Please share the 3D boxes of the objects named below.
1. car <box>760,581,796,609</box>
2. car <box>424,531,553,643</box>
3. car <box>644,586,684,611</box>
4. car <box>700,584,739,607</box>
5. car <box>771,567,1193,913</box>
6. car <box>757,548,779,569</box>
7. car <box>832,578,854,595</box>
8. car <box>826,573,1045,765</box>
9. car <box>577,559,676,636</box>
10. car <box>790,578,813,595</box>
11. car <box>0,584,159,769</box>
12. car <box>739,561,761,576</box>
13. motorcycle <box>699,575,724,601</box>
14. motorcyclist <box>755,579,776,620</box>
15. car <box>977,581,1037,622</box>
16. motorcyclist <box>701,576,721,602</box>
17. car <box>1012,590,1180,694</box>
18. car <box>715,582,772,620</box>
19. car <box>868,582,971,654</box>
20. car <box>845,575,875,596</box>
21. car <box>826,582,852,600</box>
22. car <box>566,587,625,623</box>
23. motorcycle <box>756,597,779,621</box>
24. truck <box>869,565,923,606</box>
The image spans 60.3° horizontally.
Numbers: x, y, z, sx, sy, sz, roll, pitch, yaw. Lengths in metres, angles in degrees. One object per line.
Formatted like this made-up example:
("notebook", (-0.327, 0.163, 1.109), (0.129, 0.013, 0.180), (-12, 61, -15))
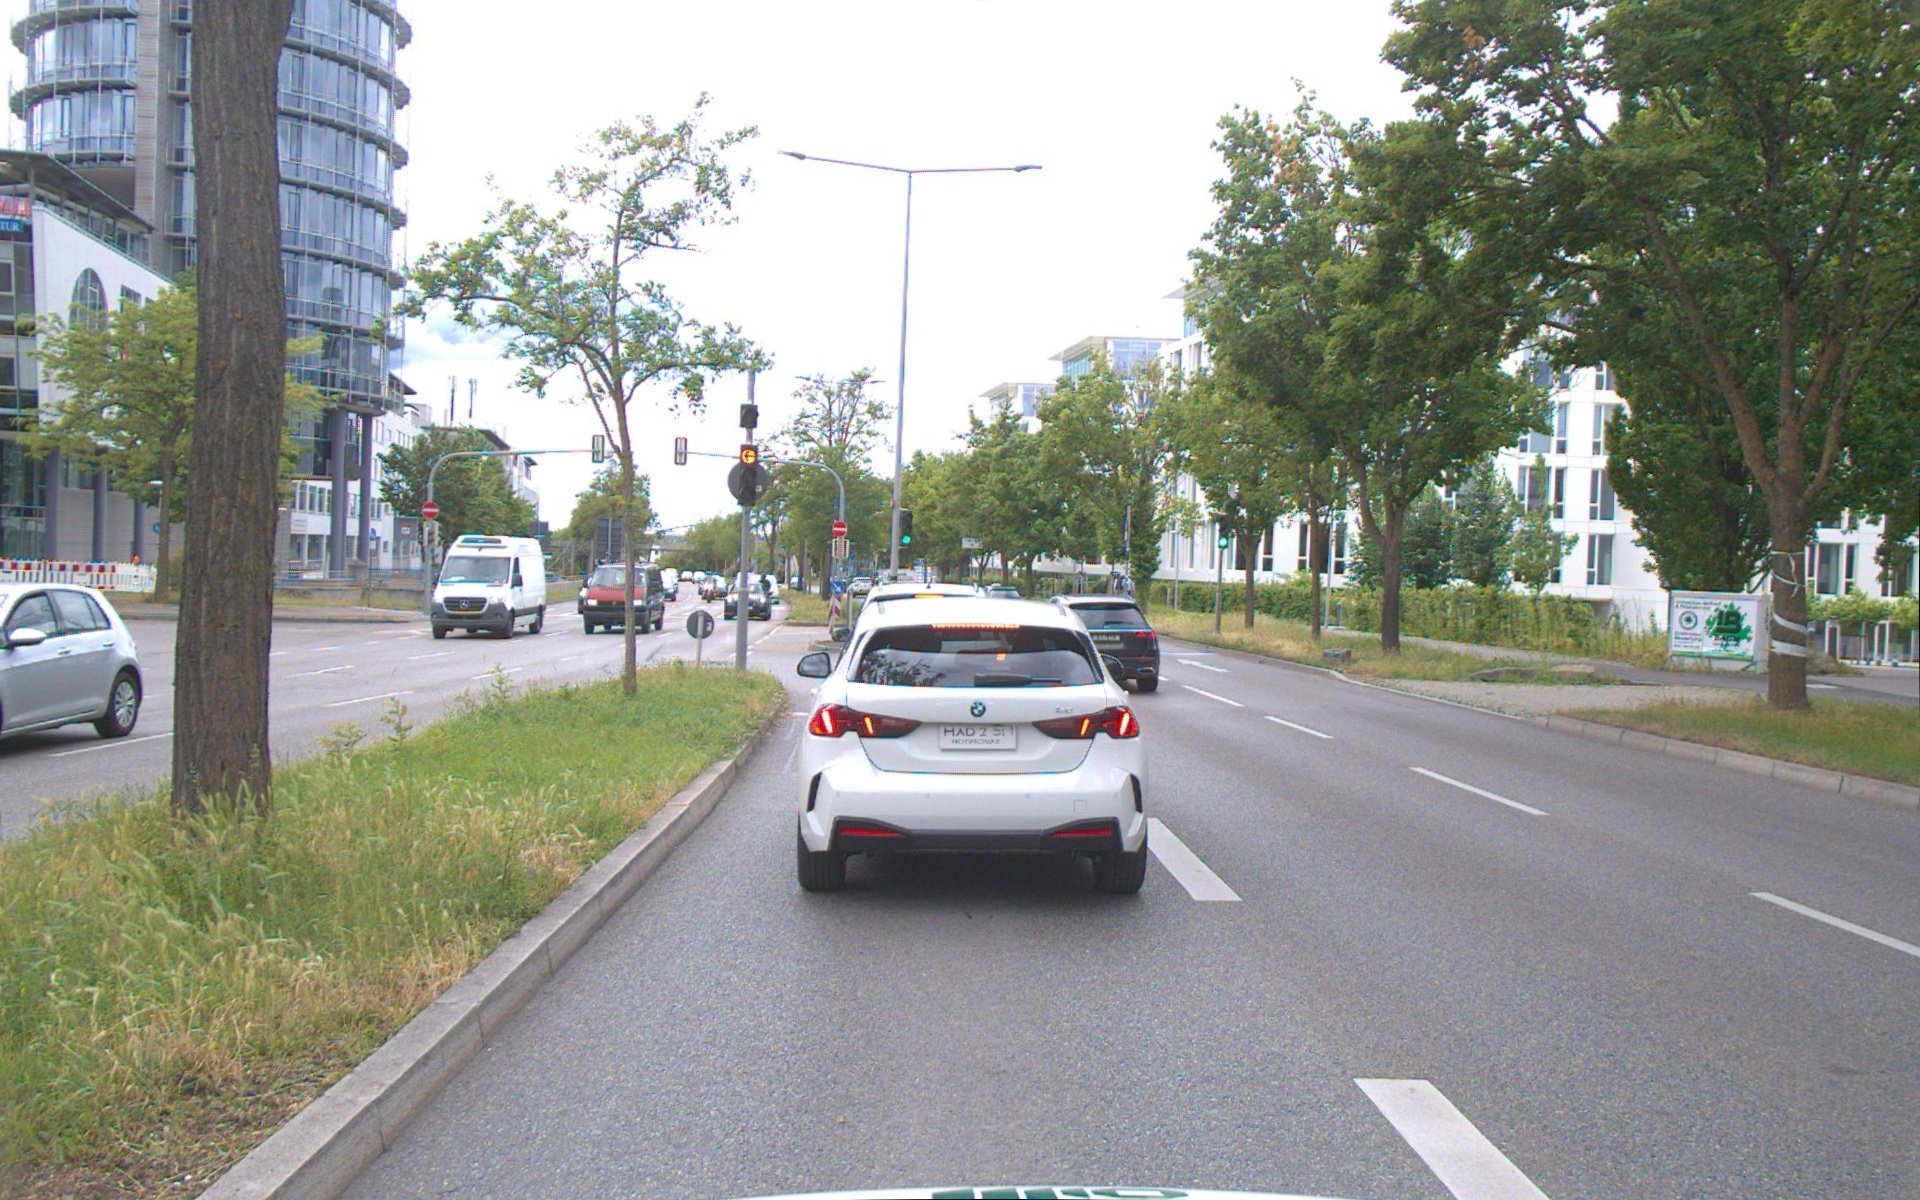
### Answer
("car", (-10.365, -0.287, 94.555), (1.673, 1.523, 3.802), (1, 0, -1))
("car", (-12.438, -0.355, 44.055), (1.954, 2.679, 5.871), (3, 0, -4))
("car", (-17.251, -0.103, 96.485), (1.673, 1.443, 3.802), (1, 0, -1))
("car", (-15.116, -0.300, 104.096), (1.953, 1.378, 3.999), (1, 0, -1))
("car", (0.146, 0.620, 9.292), (1.824, 1.474, 4.001), (2, 0, 1))
("car", (-20.350, -4.391, 175.292), (1.954, 2.045, 4.321), (3, 0, -4))
("car", (-10.902, -1.271, 154.490), (1.954, 1.516, 3.997), (2, 0, -3))
("car", (-0.227, 0.636, 17.102), (1.953, 1.701, 4.000), (2, 0, 0))
("car", (-9.617, -0.132, 48.117), (1.896, 1.951, 4.974), (-1, 3, -1))
("car", (-14.977, -1.266, 155.993), (1.954, 1.516, 3.997), (2, 0, -3))
("car", (-8.564, 0.601, 14.042), (1.718, 1.469, 4.132), (0, 1, -4))
("car", (-24.376, -3.651, 192.193), (1.953, 1.646, 3.999), (3, 0, -1))
("motorcycle", (-14.131, -0.693, 94.048), (0.871, 1.422, 3.999), (1, 0, -1))
("motorcyclist", (-9.106, -0.018, 77.574), (0.831, 1.869, 1.259), (1, 0, -1))
("car", (1.936, 0.034, 69.269), (1.955, 1.624, 3.995), (2, 0, -6))
("motorcyclist", (-14.125, -0.618, 93.861), (0.891, 1.416, 1.673), (1, 0, -1))
("car", (2.074, 0.606, 26.707), (2.012, 1.512, 4.970), (0, 0, -3))
("car", (-8.252, 0.025, 63.351), (1.718, 1.395, 3.779), (1, 0, -1))
("car", (-0.884, 0.409, 38.473), (1.951, 1.534, 4.002), (2, 0, 5))
("car", (-7.754, -1.107, 128.098), (1.956, 1.534, 3.993), (1, 0, -8))
("car", (-11.076, -0.827, 150.781), (1.957, 1.534, 3.991), (1, 0, -9))
("car", (-15.092, 0.187, 68.612), (1.673, 1.443, 3.802), (1, 0, -1))
("motorcycle", (-9.031, 0.410, 77.662), (0.821, 1.083, 2.652), (1, 0, -1))
("truck", (-4.304, -0.920, 110.109), (2.806, 2.563, 6.274), (2, 0, -9))
